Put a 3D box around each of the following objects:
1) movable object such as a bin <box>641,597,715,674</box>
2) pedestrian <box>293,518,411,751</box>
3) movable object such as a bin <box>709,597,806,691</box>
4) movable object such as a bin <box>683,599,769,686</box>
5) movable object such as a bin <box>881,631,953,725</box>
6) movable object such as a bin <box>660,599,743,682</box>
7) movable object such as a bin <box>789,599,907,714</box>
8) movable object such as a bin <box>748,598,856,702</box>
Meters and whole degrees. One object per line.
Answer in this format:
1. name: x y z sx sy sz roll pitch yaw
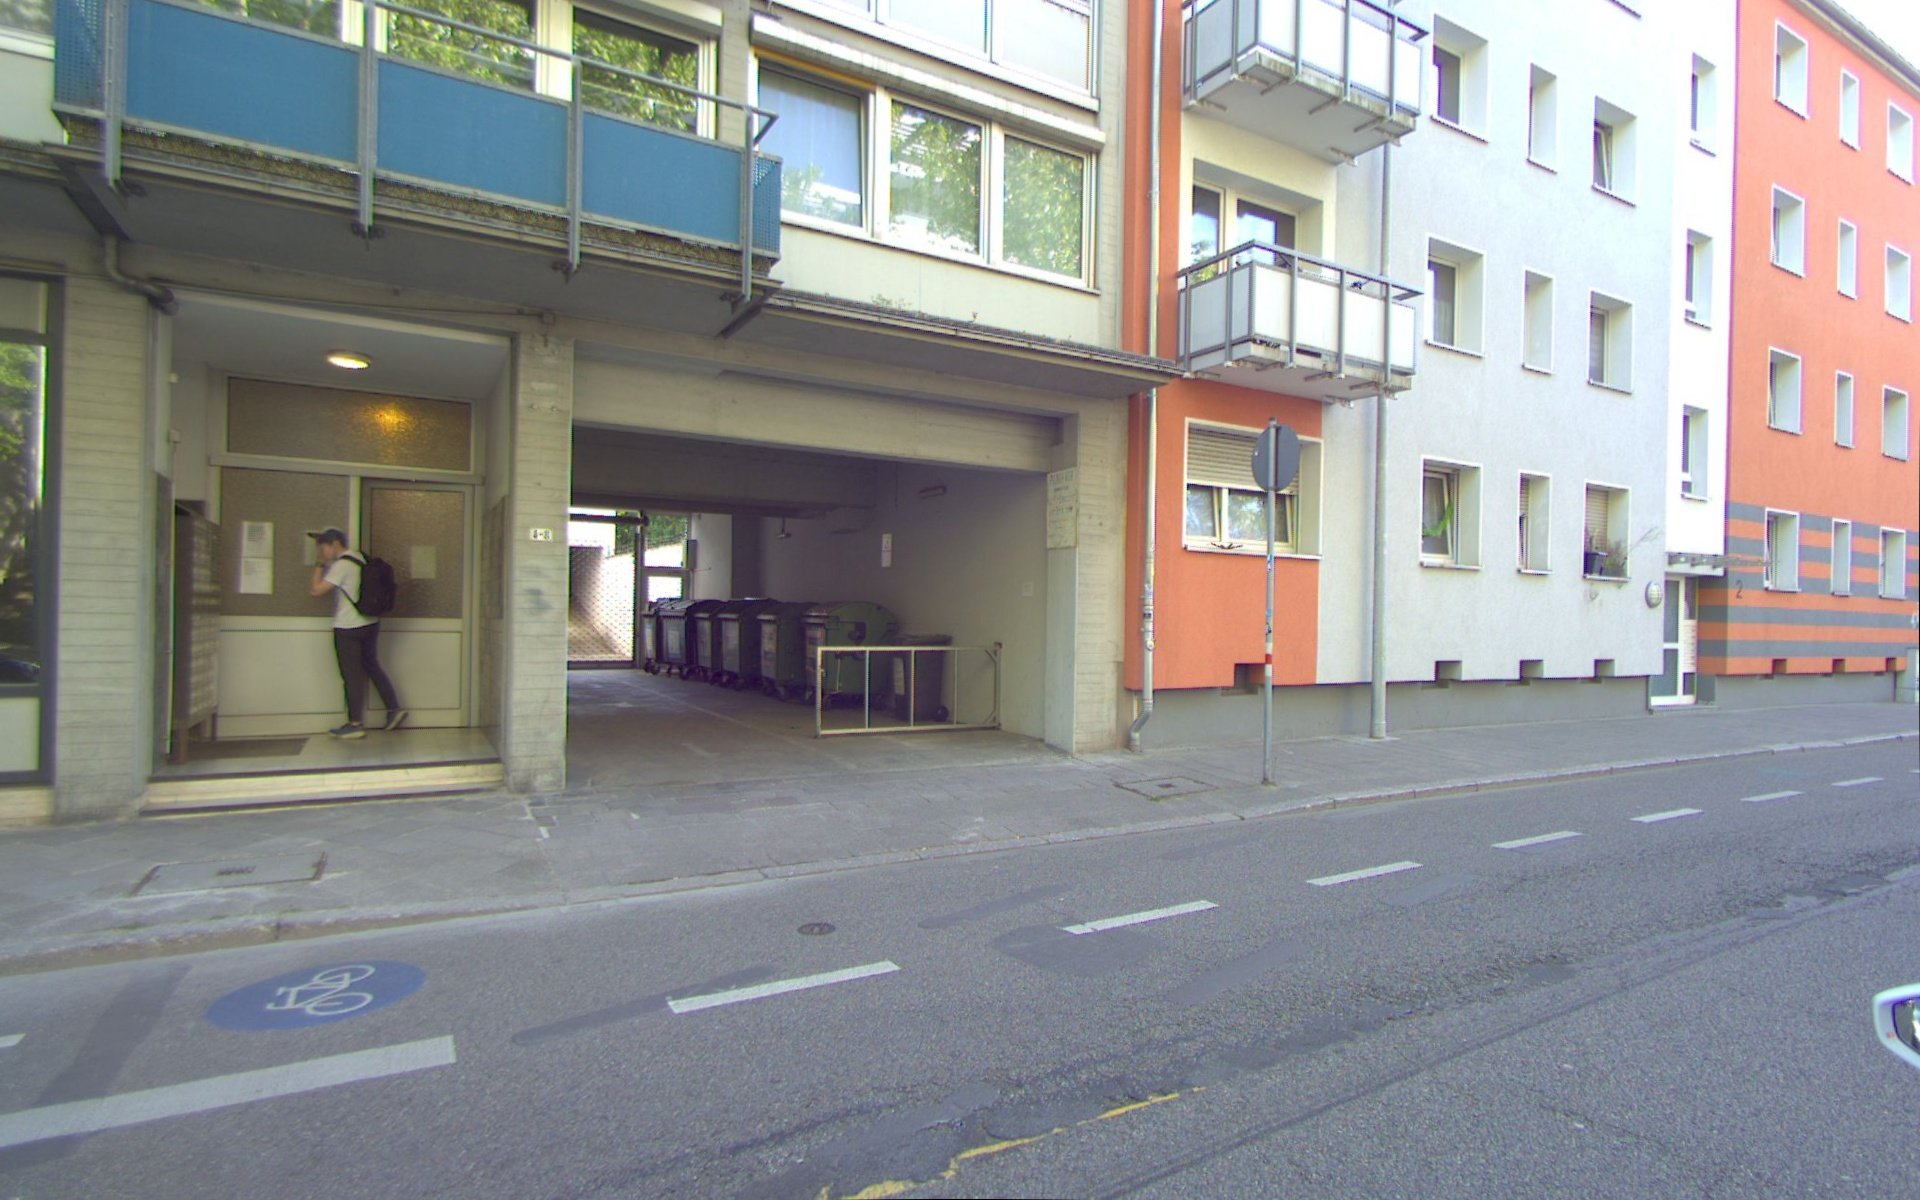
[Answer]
1. movable object such as a bin: -5.612 0.697 19.980 1.186 1.467 1.027 2 0 -30
2. pedestrian: -5.199 0.293 8.633 0.776 1.904 0.578 2 0 -26
3. movable object such as a bin: -3.366 0.709 16.617 1.186 1.467 1.319 2 0 -30
4. movable object such as a bin: -4.137 0.730 17.708 1.186 1.467 1.114 2 0 -30
5. movable object such as a bin: -0.531 0.948 12.408 0.745 1.116 0.463 2 0 -30
6. movable object such as a bin: -4.836 0.732 18.751 1.186 1.467 1.222 2 0 -30
7. movable object such as a bin: -1.559 0.749 13.800 1.159 1.467 1.319 2 0 -30
8. movable object such as a bin: -2.399 0.730 15.133 1.186 1.467 1.319 2 0 -30
